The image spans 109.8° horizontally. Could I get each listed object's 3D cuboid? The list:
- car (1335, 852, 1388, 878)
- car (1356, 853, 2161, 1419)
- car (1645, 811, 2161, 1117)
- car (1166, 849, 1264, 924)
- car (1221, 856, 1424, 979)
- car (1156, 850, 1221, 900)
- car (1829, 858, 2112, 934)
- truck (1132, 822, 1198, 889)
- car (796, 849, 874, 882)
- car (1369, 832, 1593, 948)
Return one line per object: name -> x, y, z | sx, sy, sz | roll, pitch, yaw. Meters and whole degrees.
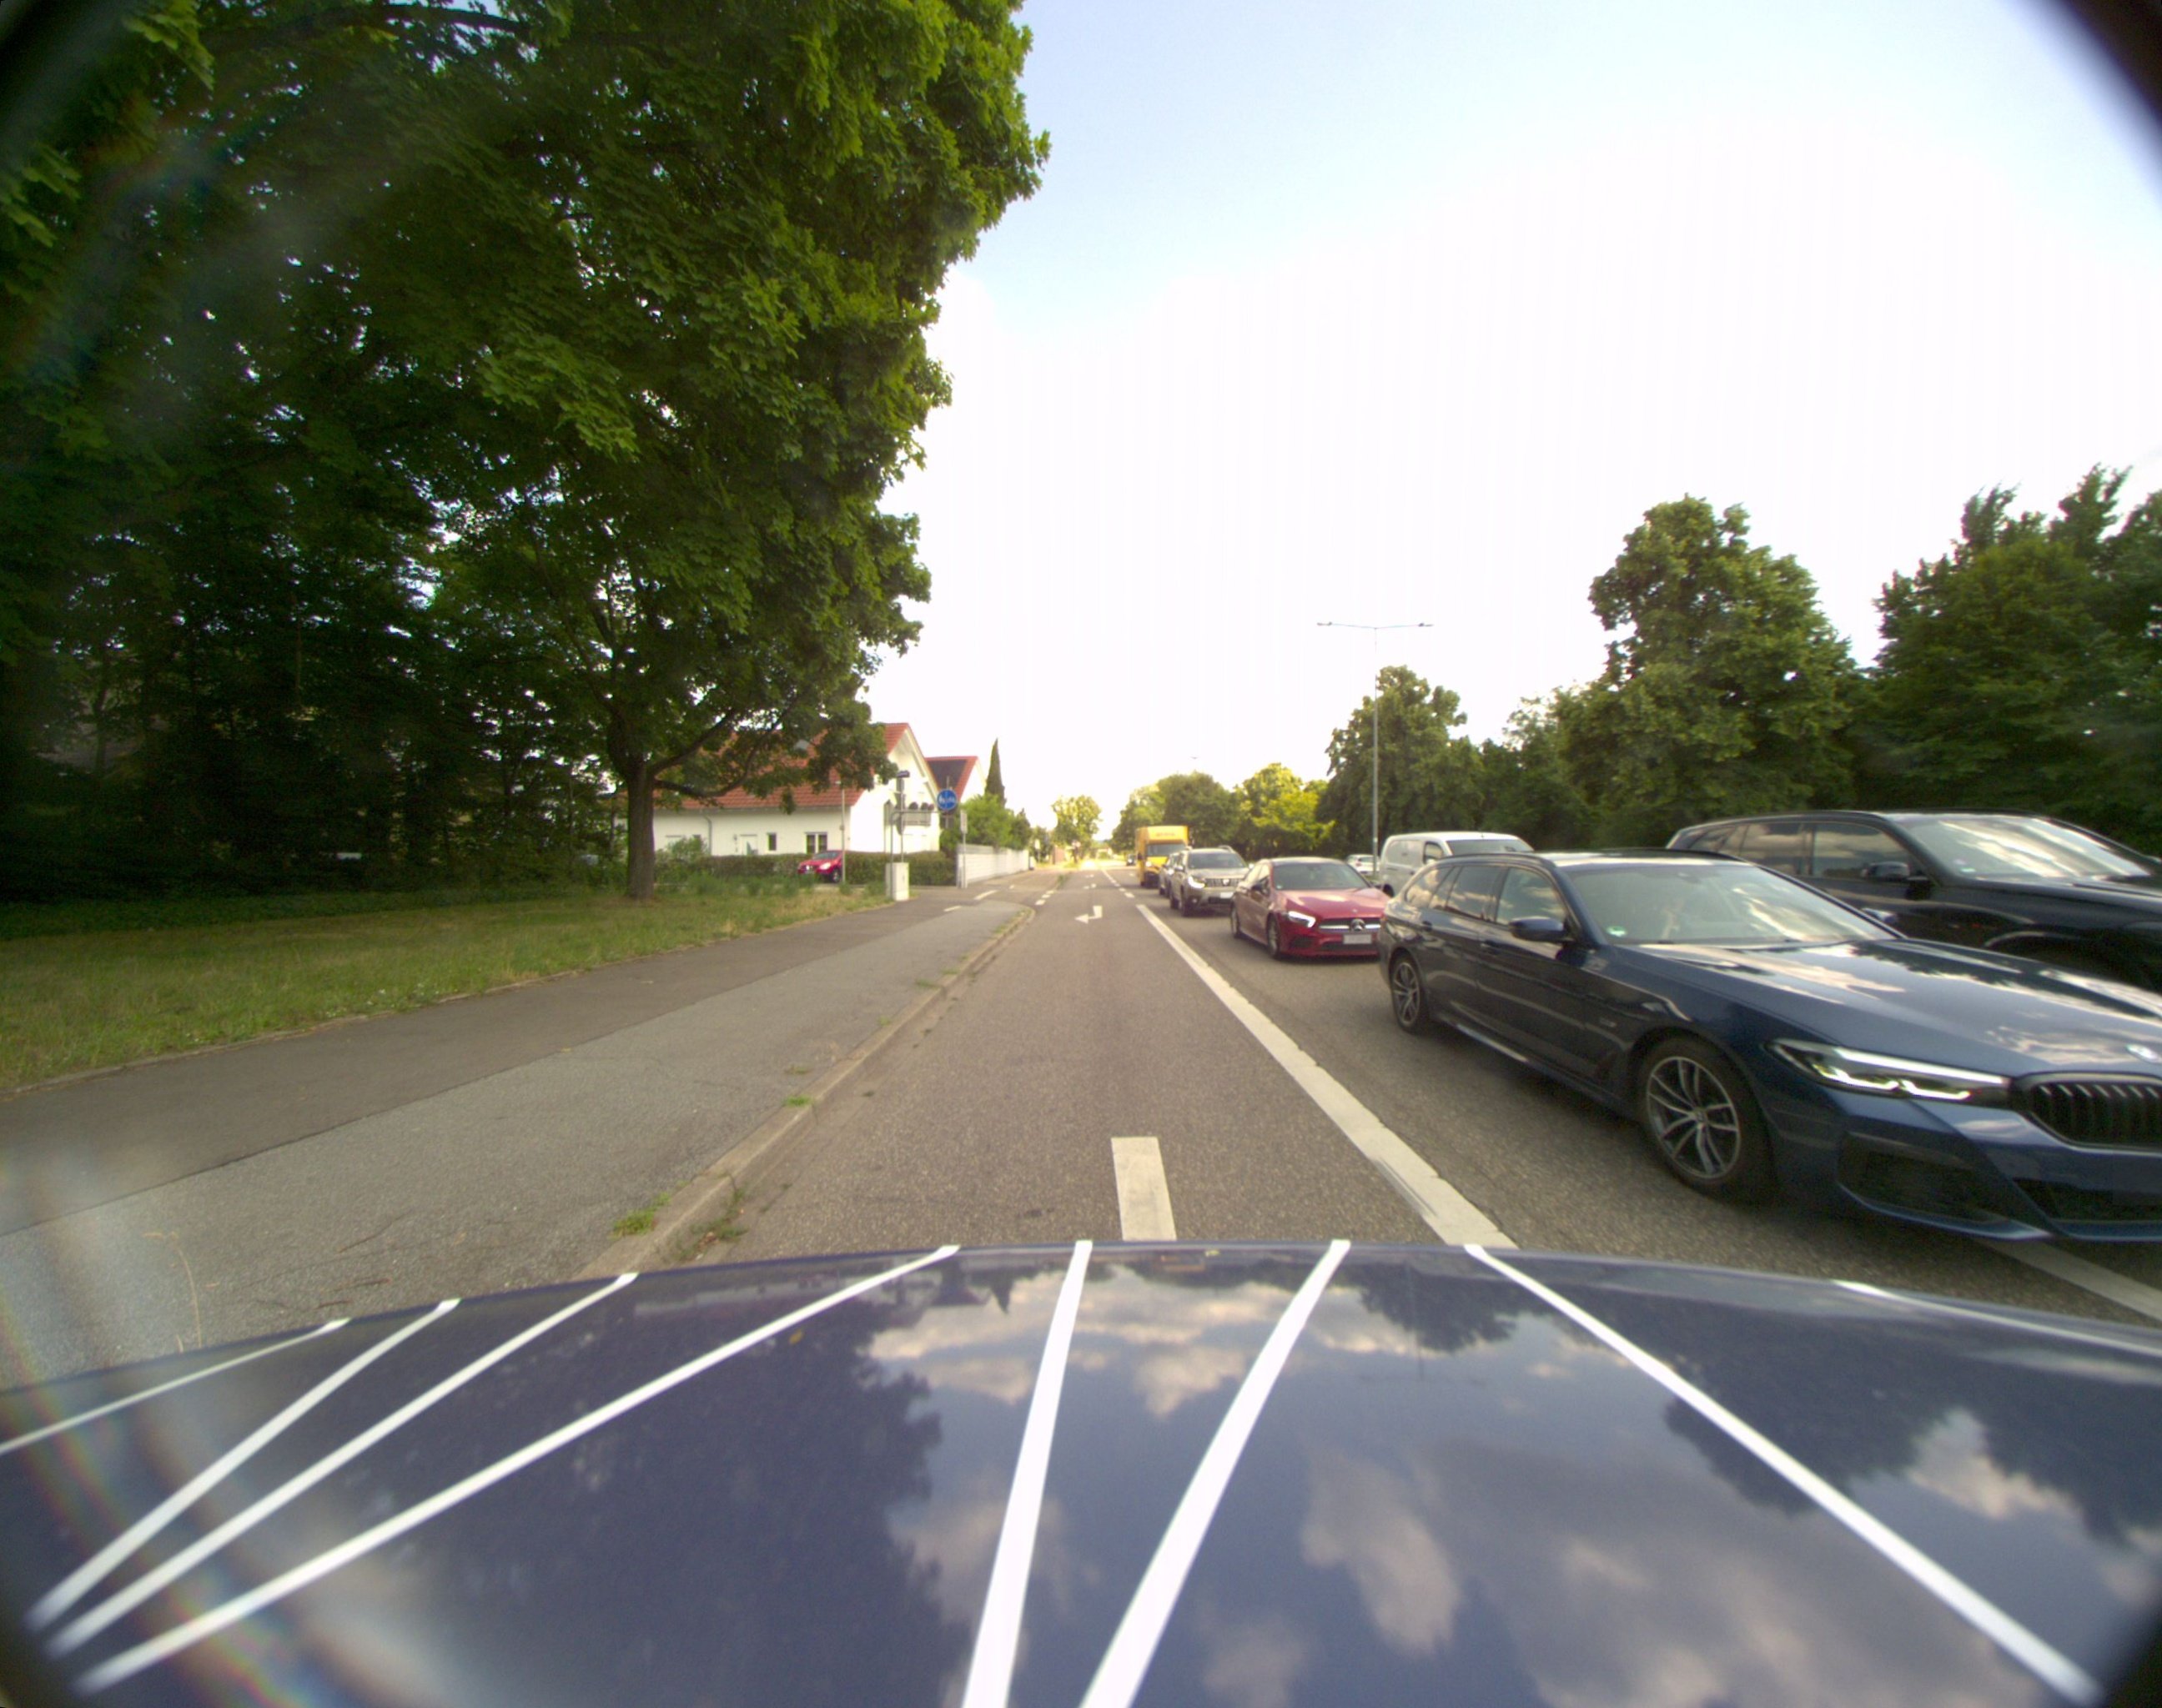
car -> 16.601, 0.636, 45.100 | 1.672, 1.379, 3.999 | -2, 1, 1
car -> 3.428, 0.802, 4.574 | 1.801, 1.488, 4.872 | -2, 1, 1
car -> 7.061, 0.586, 6.040 | 1.817, 1.736, 4.549 | -1, 1, 1
car -> 3.207, 0.716, 18.953 | 1.727, 1.602, 4.175 | -2, 1, 1
car -> 3.448, 0.804, 11.798 | 1.727, 1.454, 4.535 | -2, 0, 1
car -> 3.691, 0.679, 26.643 | 1.727, 1.522, 3.893 | -2, 1, 1
car -> 19.559, 0.847, 17.024 | 1.672, 1.379, 3.999 | -2, 1, 1
truck -> 3.861, 0.060, 36.378 | 2.363, 2.843, 6.966 | -2, 0, 1
car -> -11.833, 0.536, 36.848 | 1.679, 1.521, 4.397 | 0, 0, 11
car -> 7.213, 0.545, 14.350 | 1.770, 1.788, 4.730 | -1, 1, 1
